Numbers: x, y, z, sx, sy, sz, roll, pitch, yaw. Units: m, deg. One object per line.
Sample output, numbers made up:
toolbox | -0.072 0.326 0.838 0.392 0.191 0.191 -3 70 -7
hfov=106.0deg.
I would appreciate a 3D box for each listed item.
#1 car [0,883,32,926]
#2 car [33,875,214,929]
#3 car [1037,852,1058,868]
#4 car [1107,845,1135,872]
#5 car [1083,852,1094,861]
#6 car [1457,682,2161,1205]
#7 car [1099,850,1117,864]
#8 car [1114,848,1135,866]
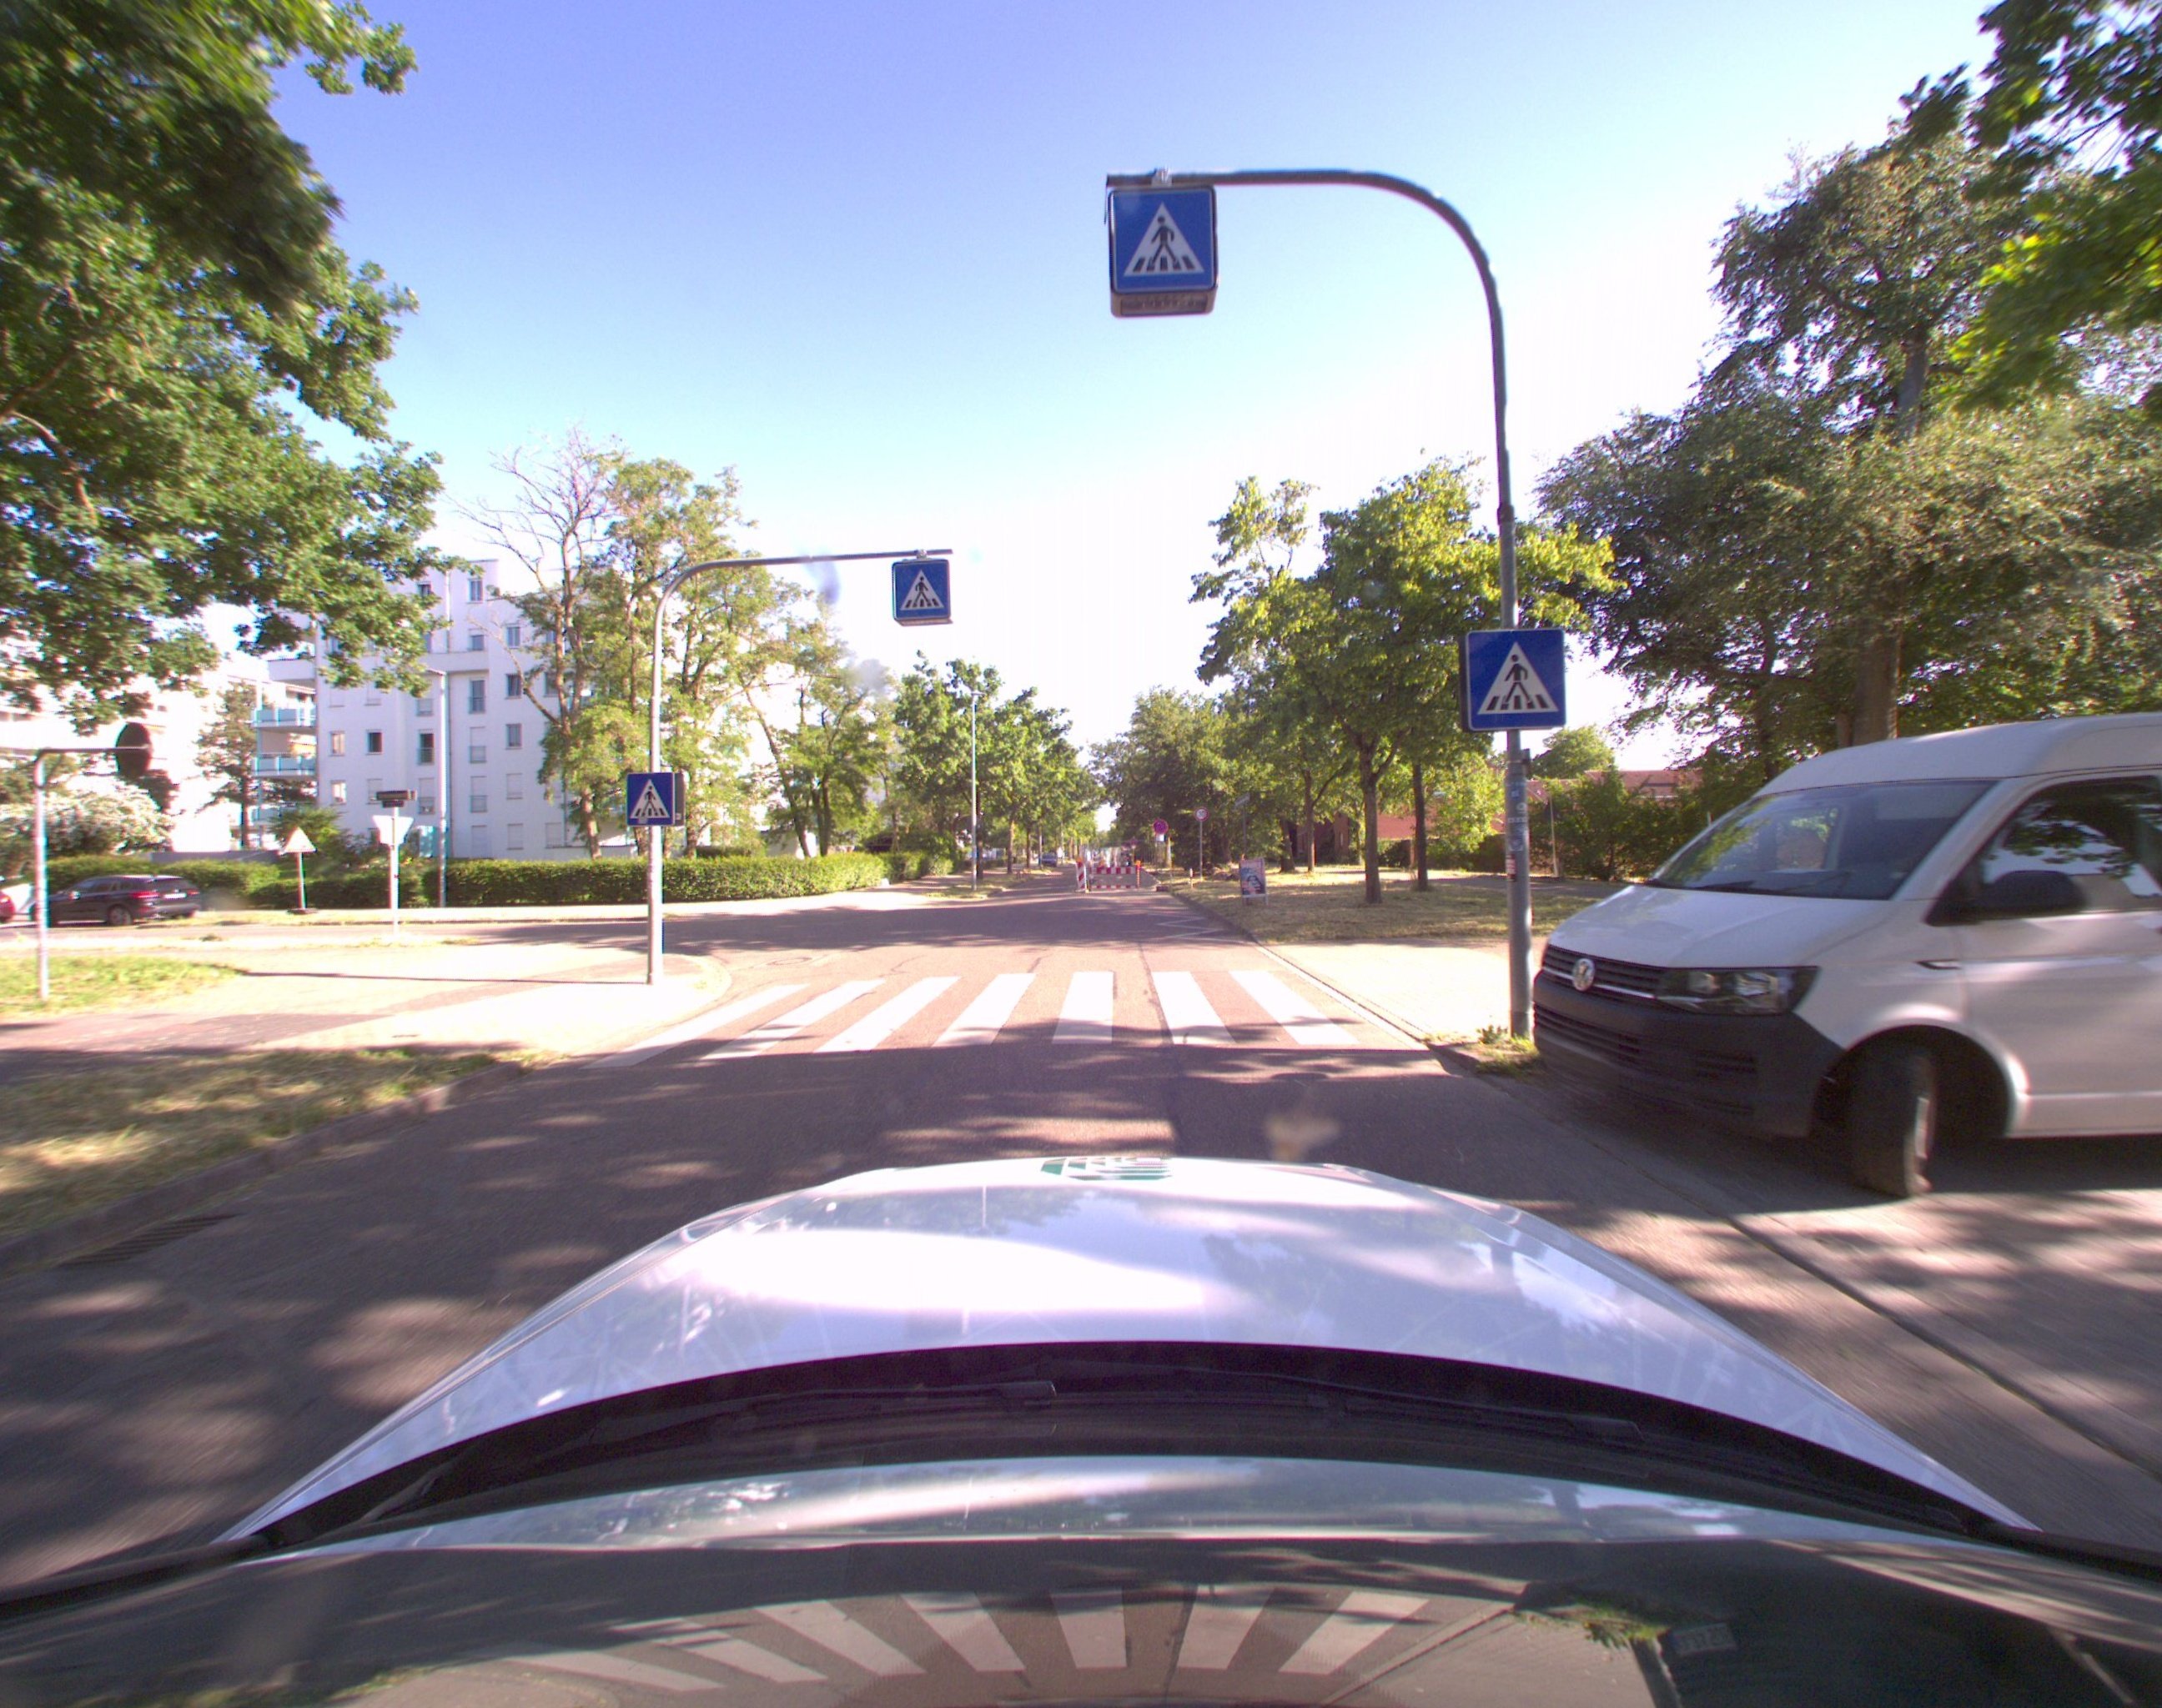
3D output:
car | -38.319 1.764 27.490 3.964 1.423 1.815 -1 0 8
car | -31.435 1.555 26.800 3.964 1.613 2.019 -1 0 8
car | -3.568 0.612 87.661 1.986 1.716 4.001 -1 0 1
car | 2.931 0.338 60.478 1.986 1.933 4.001 -1 0 1
car | 1.469 0.494 160.009 1.986 1.716 4.001 -1 0 1
car | 5.133 0.320 4.438 5.170 2.105 2.082 -2 0 0
car | 3.202 0.355 97.056 1.986 1.716 4.001 -1 0 1
car | 4.319 0.265 81.270 1.986 1.716 4.001 -1 0 1
